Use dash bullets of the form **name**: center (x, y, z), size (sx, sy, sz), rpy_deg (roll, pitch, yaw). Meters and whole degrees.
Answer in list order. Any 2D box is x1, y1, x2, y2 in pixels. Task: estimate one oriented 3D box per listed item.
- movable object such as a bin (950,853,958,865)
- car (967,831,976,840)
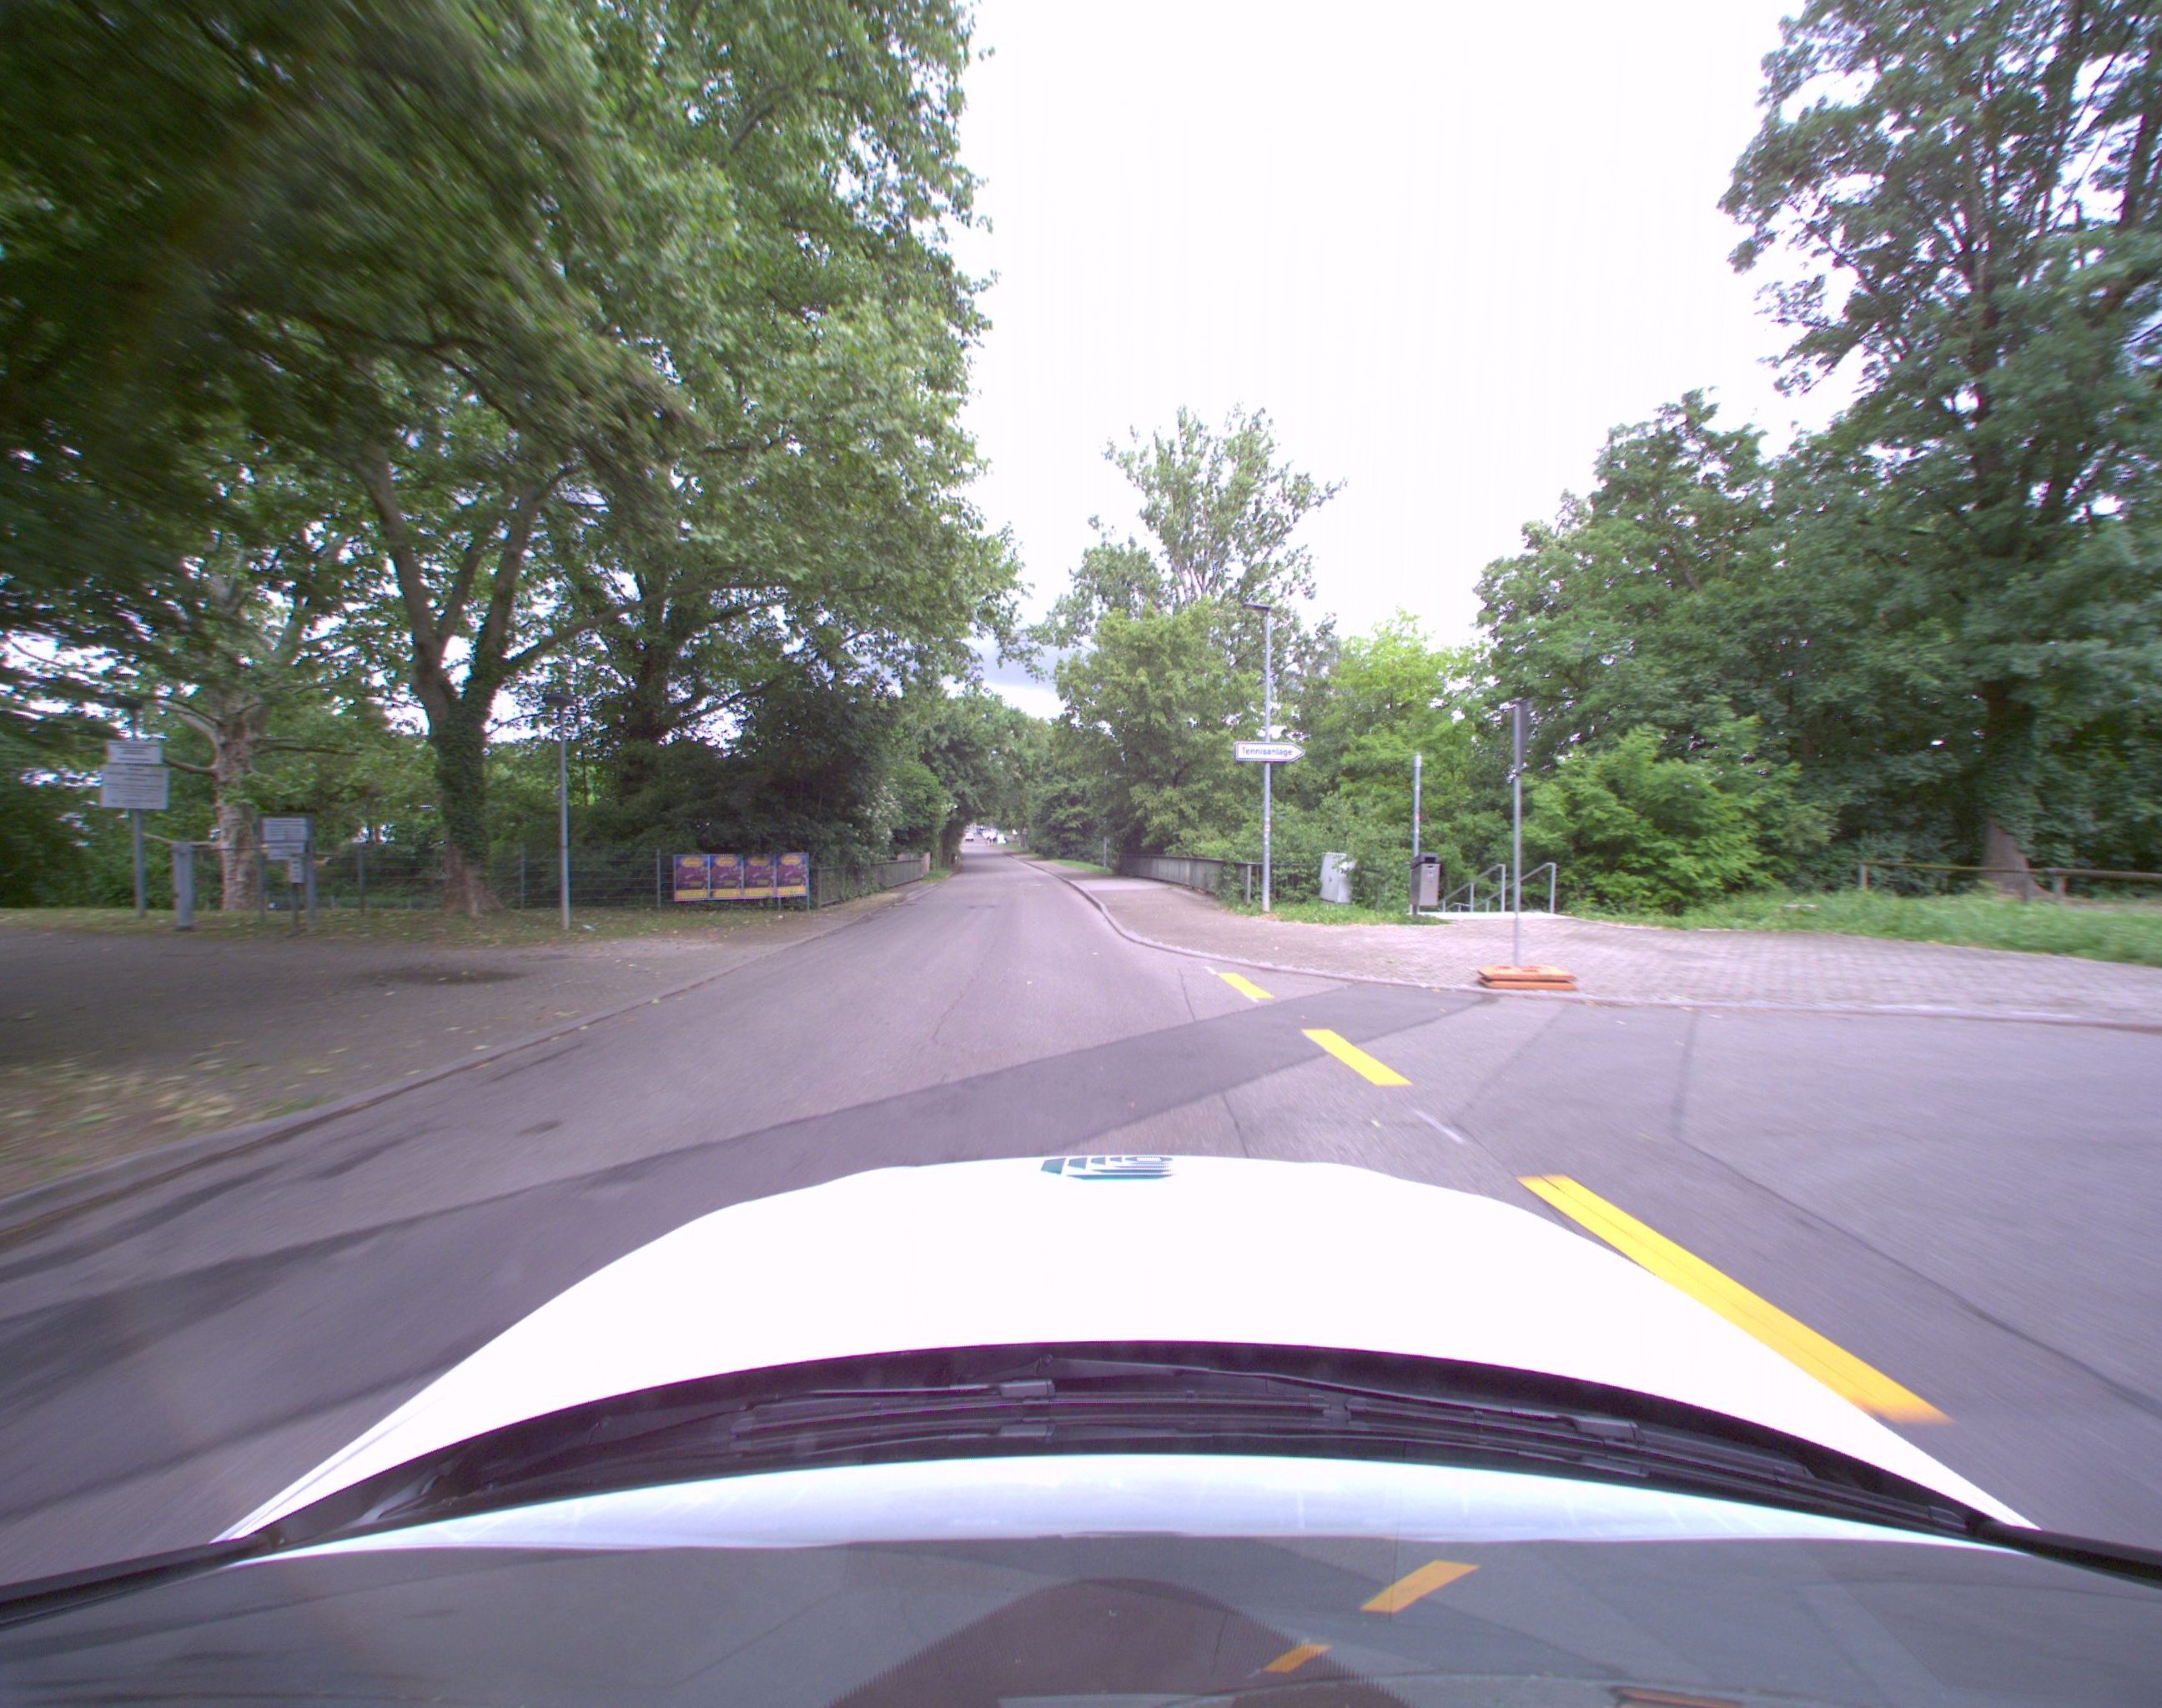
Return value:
- **movable object such as a bin**: center (-9.872, 0.385, 63.372), size (0.589, 0.957, 0.469), rpy_deg (0, -1, -7)
- **car**: center (-25.080, -4.263, 187.151), size (1.992, 1.772, 3.990), rpy_deg (0, 0, -7)
